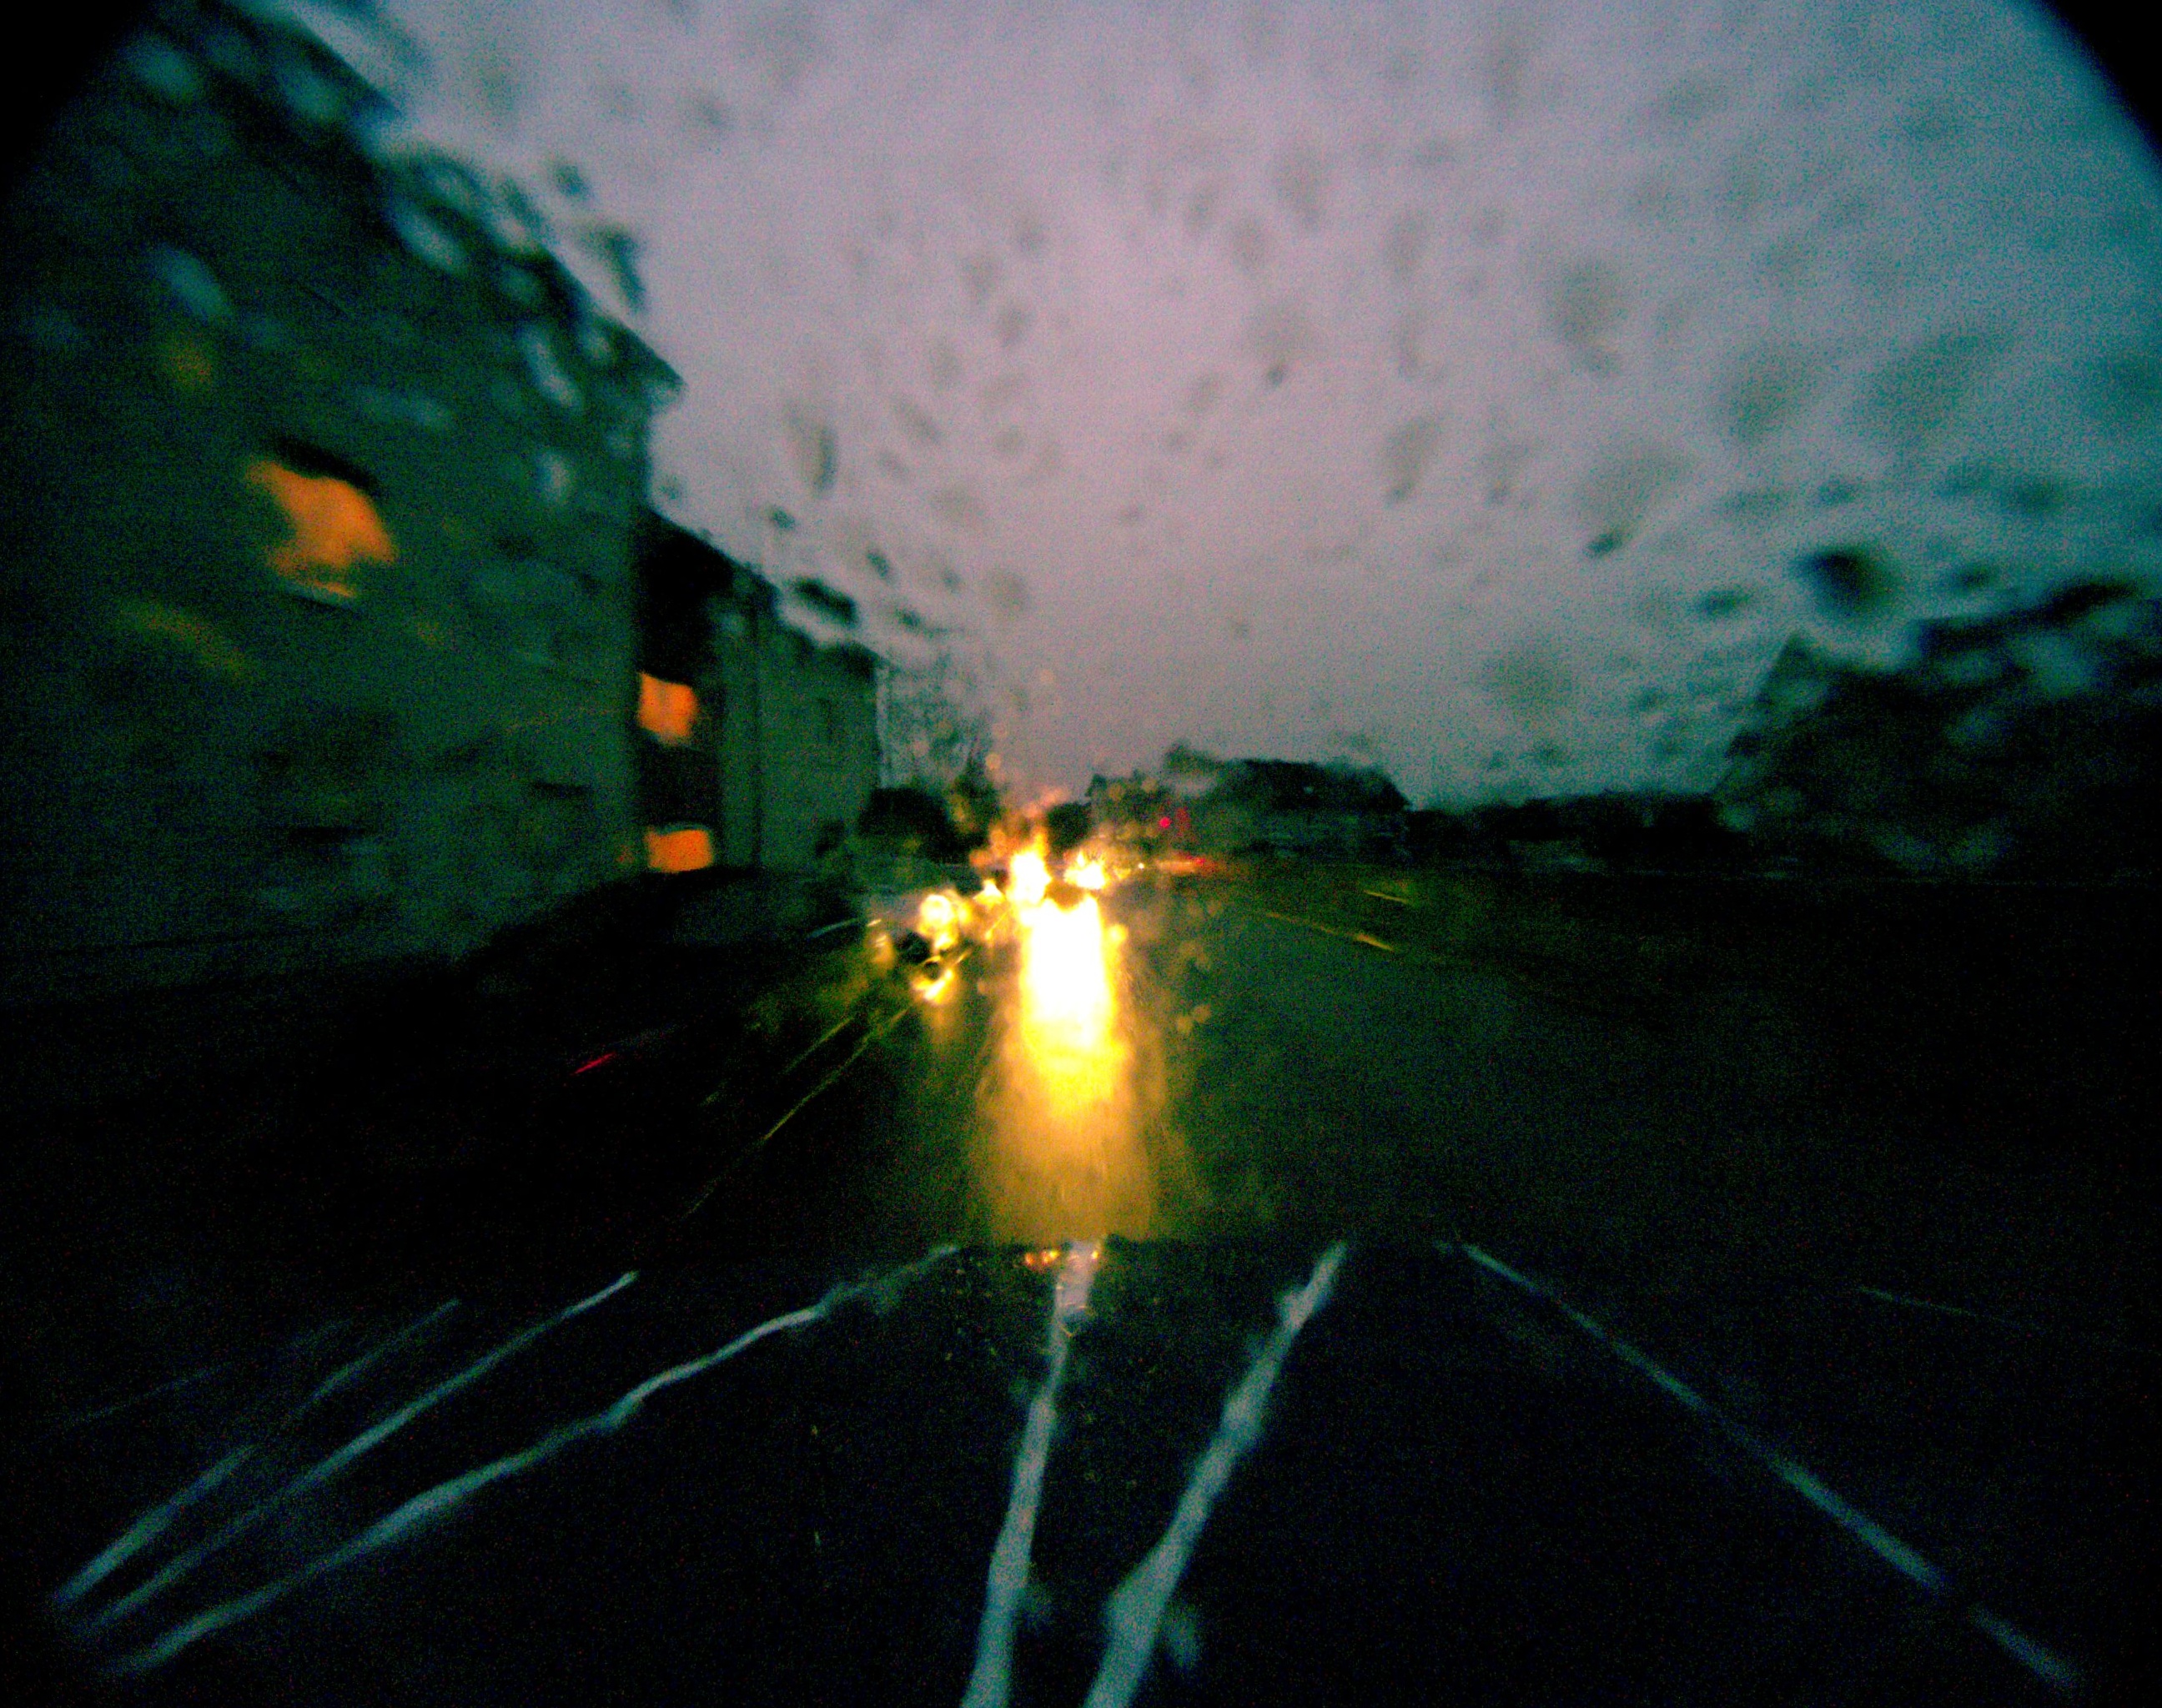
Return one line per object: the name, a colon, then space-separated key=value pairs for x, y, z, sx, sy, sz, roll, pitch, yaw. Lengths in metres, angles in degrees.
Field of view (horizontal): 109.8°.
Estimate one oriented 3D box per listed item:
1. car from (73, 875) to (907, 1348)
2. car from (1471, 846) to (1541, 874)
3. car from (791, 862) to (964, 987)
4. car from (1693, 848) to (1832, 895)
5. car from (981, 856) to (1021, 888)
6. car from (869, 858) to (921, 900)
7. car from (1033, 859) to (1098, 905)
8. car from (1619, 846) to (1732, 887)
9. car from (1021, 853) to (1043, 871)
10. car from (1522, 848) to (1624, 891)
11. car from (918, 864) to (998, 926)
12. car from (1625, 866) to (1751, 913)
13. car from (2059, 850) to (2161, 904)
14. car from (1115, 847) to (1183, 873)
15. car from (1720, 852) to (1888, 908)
car: x=-2.752 y=1.023 z=5.332 sx=1.962 sy=1.523 sz=5.008 roll=-3 pitch=0 yaw=-2
car: x=23.938 y=0.329 z=42.974 sx=1.680 sy=1.406 sz=3.832 roll=-3 pitch=1 yaw=-2
car: x=-3.005 y=0.944 z=12.192 sx=1.669 sy=1.566 sz=4.496 roll=0 pitch=0 yaw=-2
car: x=26.227 y=0.634 z=29.451 sx=1.815 sy=1.637 sz=4.000 roll=-3 pitch=0 yaw=1
car: x=-4.169 y=0.907 z=40.228 sx=1.812 sy=1.555 sz=4.303 roll=0 pitch=0 yaw=-2
car: x=-7.419 y=0.941 z=30.644 sx=1.813 sy=1.543 sz=4.300 roll=0 pitch=0 yaw=-10
car: x=-0.653 y=1.003 z=28.399 sx=2.000 sy=1.525 sz=3.998 roll=-2 pitch=-1 yaw=-6
car: x=26.394 y=0.543 z=33.901 sx=1.840 sy=1.637 sz=4.000 roll=-3 pitch=0 yaw=-1
car: x=-4.727 y=0.809 z=72.596 sx=1.907 sy=1.630 sz=4.565 roll=0 pitch=-1 yaw=-5
car: x=24.162 y=0.713 z=37.538 sx=1.999 sy=1.893 sz=4.356 roll=-3 pitch=0 yaw=-3
car: x=-3.187 y=1.017 z=20.382 sx=1.707 sy=1.443 sz=4.190 roll=0 pitch=0 yaw=-4
car: x=23.711 y=1.338 z=29.903 sx=1.901 sy=1.509 sz=4.000 roll=-3 pitch=1 yaw=4
car: x=33.634 y=0.656 z=23.348 sx=4.032 sy=1.515 sz=1.816 roll=-3 pitch=0 yaw=21
car: x=4.770 y=0.436 z=53.797 sx=4.346 sy=1.611 sz=1.998 roll=-3 pitch=0 yaw=-8
car: x=23.642 y=0.811 z=25.076 sx=1.821 sy=1.614 sz=3.986 roll=-3 pitch=0 yaw=3
